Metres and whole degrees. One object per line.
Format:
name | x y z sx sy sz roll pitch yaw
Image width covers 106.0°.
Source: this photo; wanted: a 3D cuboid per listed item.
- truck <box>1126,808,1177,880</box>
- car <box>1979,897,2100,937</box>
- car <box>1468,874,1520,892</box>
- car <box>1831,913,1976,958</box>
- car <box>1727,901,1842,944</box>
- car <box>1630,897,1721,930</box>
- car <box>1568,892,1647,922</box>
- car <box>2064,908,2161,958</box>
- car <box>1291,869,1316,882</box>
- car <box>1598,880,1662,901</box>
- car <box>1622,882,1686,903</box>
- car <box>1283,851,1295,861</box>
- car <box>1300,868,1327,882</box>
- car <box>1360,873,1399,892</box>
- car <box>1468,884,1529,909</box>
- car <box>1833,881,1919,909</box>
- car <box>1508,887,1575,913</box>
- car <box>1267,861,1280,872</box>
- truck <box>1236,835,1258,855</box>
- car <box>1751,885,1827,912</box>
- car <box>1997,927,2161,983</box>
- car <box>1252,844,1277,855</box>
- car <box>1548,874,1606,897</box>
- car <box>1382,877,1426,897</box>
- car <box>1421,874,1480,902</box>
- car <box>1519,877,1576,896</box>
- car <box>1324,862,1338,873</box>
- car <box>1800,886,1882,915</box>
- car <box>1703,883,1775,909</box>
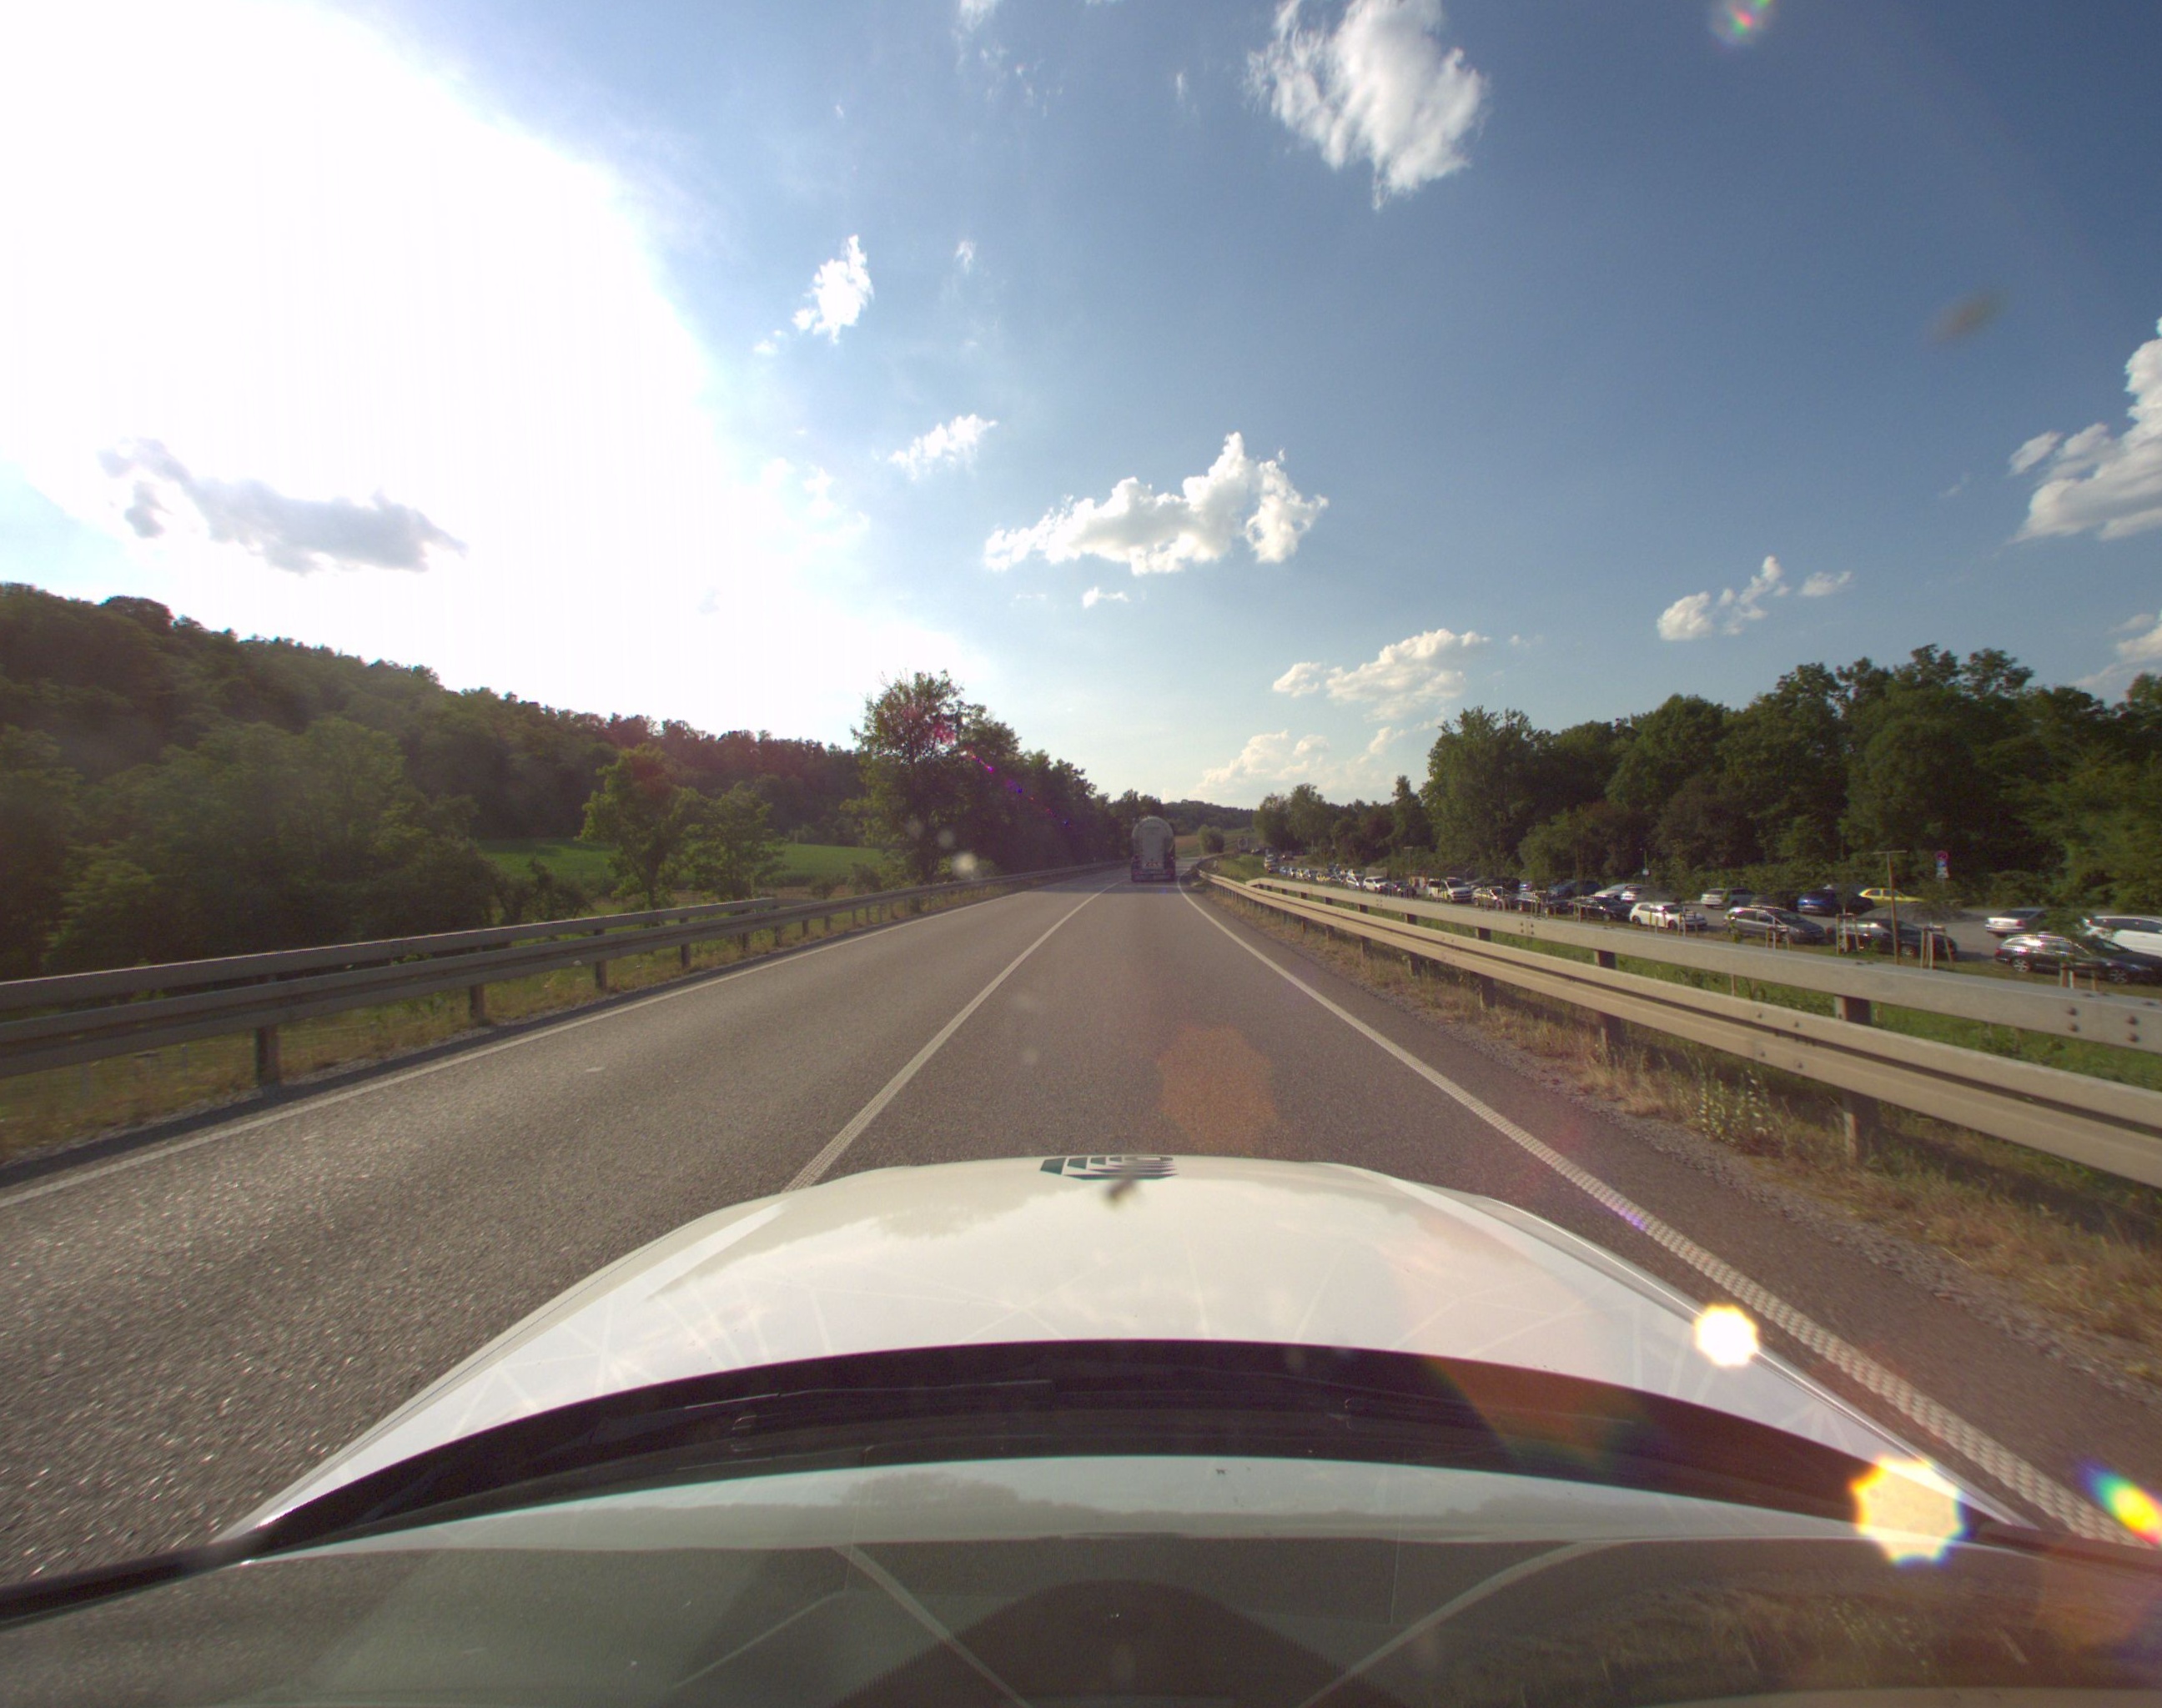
truck | 4.761 -0.596 53.763 2.878 4.142 13.194 -1 0 6
car | 44.802 2.944 38.109 4.229 1.456 1.614 -3 1 -7
car | 40.130 2.805 79.225 4.209 1.489 1.838 -1 2 8
car | 36.576 3.592 36.381 1.818 1.401 4.241 -4 1 -10
car | 35.992 3.466 41.836 1.818 1.658 4.241 -4 1 -10
car | 35.064 3.467 48.191 1.818 1.482 4.241 -4 1 -10
car | 34.253 3.409 53.128 1.818 1.482 4.379 -4 1 -10
car | 42.156 3.112 31.790 1.652 1.666 4.699 -2 -1 -5
car | 31.418 3.050 115.169 1.888 1.559 4.777 -4 1 -3
car | 43.243 2.861 64.219 4.236 1.498 1.765 -1 1 -12
car | 43.460 2.907 61.802 4.238 1.456 1.610 -1 0 -13
car | 41.978 0.352 164.316 1.879 1.686 5.104 -5 1 12
car | 31.196 2.791 109.450 1.888 1.559 4.777 -5 1 -3
car | 31.397 3.000 85.775 1.890 1.559 4.772 -5 1 -6
car | 32.725 3.305 64.005 1.890 1.482 4.772 -5 1 -6
car | 51.081 2.611 52.389 1.498 1.456 3.654 -3 1 -18
car | 33.229 3.312 58.928 1.818 1.482 4.379 -4 1 -10
car | 32.589 2.118 138.008 1.879 1.559 4.799 -5 1 12
truck | 38.995 -2.164 190.815 3.157 4.227 13.237 -2 1 19
car | 46.346 2.875 53.327 4.238 1.456 1.610 -2 1 -13
car | 37.032 3.627 29.935 1.654 1.496 4.210 -2 -1 -9
car | 40.107 -0.982 177.738 5.102 1.943 1.983 4 2 15
car | 42.770 2.711 70.245 4.236 1.742 1.826 -1 1 -12
car | 31.432 3.179 79.457 1.890 1.482 4.772 -5 1 -6
car | 32.258 2.921 71.221 2.117 2.017 5.367 -5 1 -6
car | 42.247 2.934 73.829 4.229 1.604 1.829 -1 0 -8
car | 39.381 2.104 128.230 1.686 1.398 4.811 -5 0 22
car | 47.240 2.881 50.639 4.238 1.456 1.610 -3 1 -13
car | 45.435 2.886 56.241 4.411 1.456 1.725 -2 1 -17
